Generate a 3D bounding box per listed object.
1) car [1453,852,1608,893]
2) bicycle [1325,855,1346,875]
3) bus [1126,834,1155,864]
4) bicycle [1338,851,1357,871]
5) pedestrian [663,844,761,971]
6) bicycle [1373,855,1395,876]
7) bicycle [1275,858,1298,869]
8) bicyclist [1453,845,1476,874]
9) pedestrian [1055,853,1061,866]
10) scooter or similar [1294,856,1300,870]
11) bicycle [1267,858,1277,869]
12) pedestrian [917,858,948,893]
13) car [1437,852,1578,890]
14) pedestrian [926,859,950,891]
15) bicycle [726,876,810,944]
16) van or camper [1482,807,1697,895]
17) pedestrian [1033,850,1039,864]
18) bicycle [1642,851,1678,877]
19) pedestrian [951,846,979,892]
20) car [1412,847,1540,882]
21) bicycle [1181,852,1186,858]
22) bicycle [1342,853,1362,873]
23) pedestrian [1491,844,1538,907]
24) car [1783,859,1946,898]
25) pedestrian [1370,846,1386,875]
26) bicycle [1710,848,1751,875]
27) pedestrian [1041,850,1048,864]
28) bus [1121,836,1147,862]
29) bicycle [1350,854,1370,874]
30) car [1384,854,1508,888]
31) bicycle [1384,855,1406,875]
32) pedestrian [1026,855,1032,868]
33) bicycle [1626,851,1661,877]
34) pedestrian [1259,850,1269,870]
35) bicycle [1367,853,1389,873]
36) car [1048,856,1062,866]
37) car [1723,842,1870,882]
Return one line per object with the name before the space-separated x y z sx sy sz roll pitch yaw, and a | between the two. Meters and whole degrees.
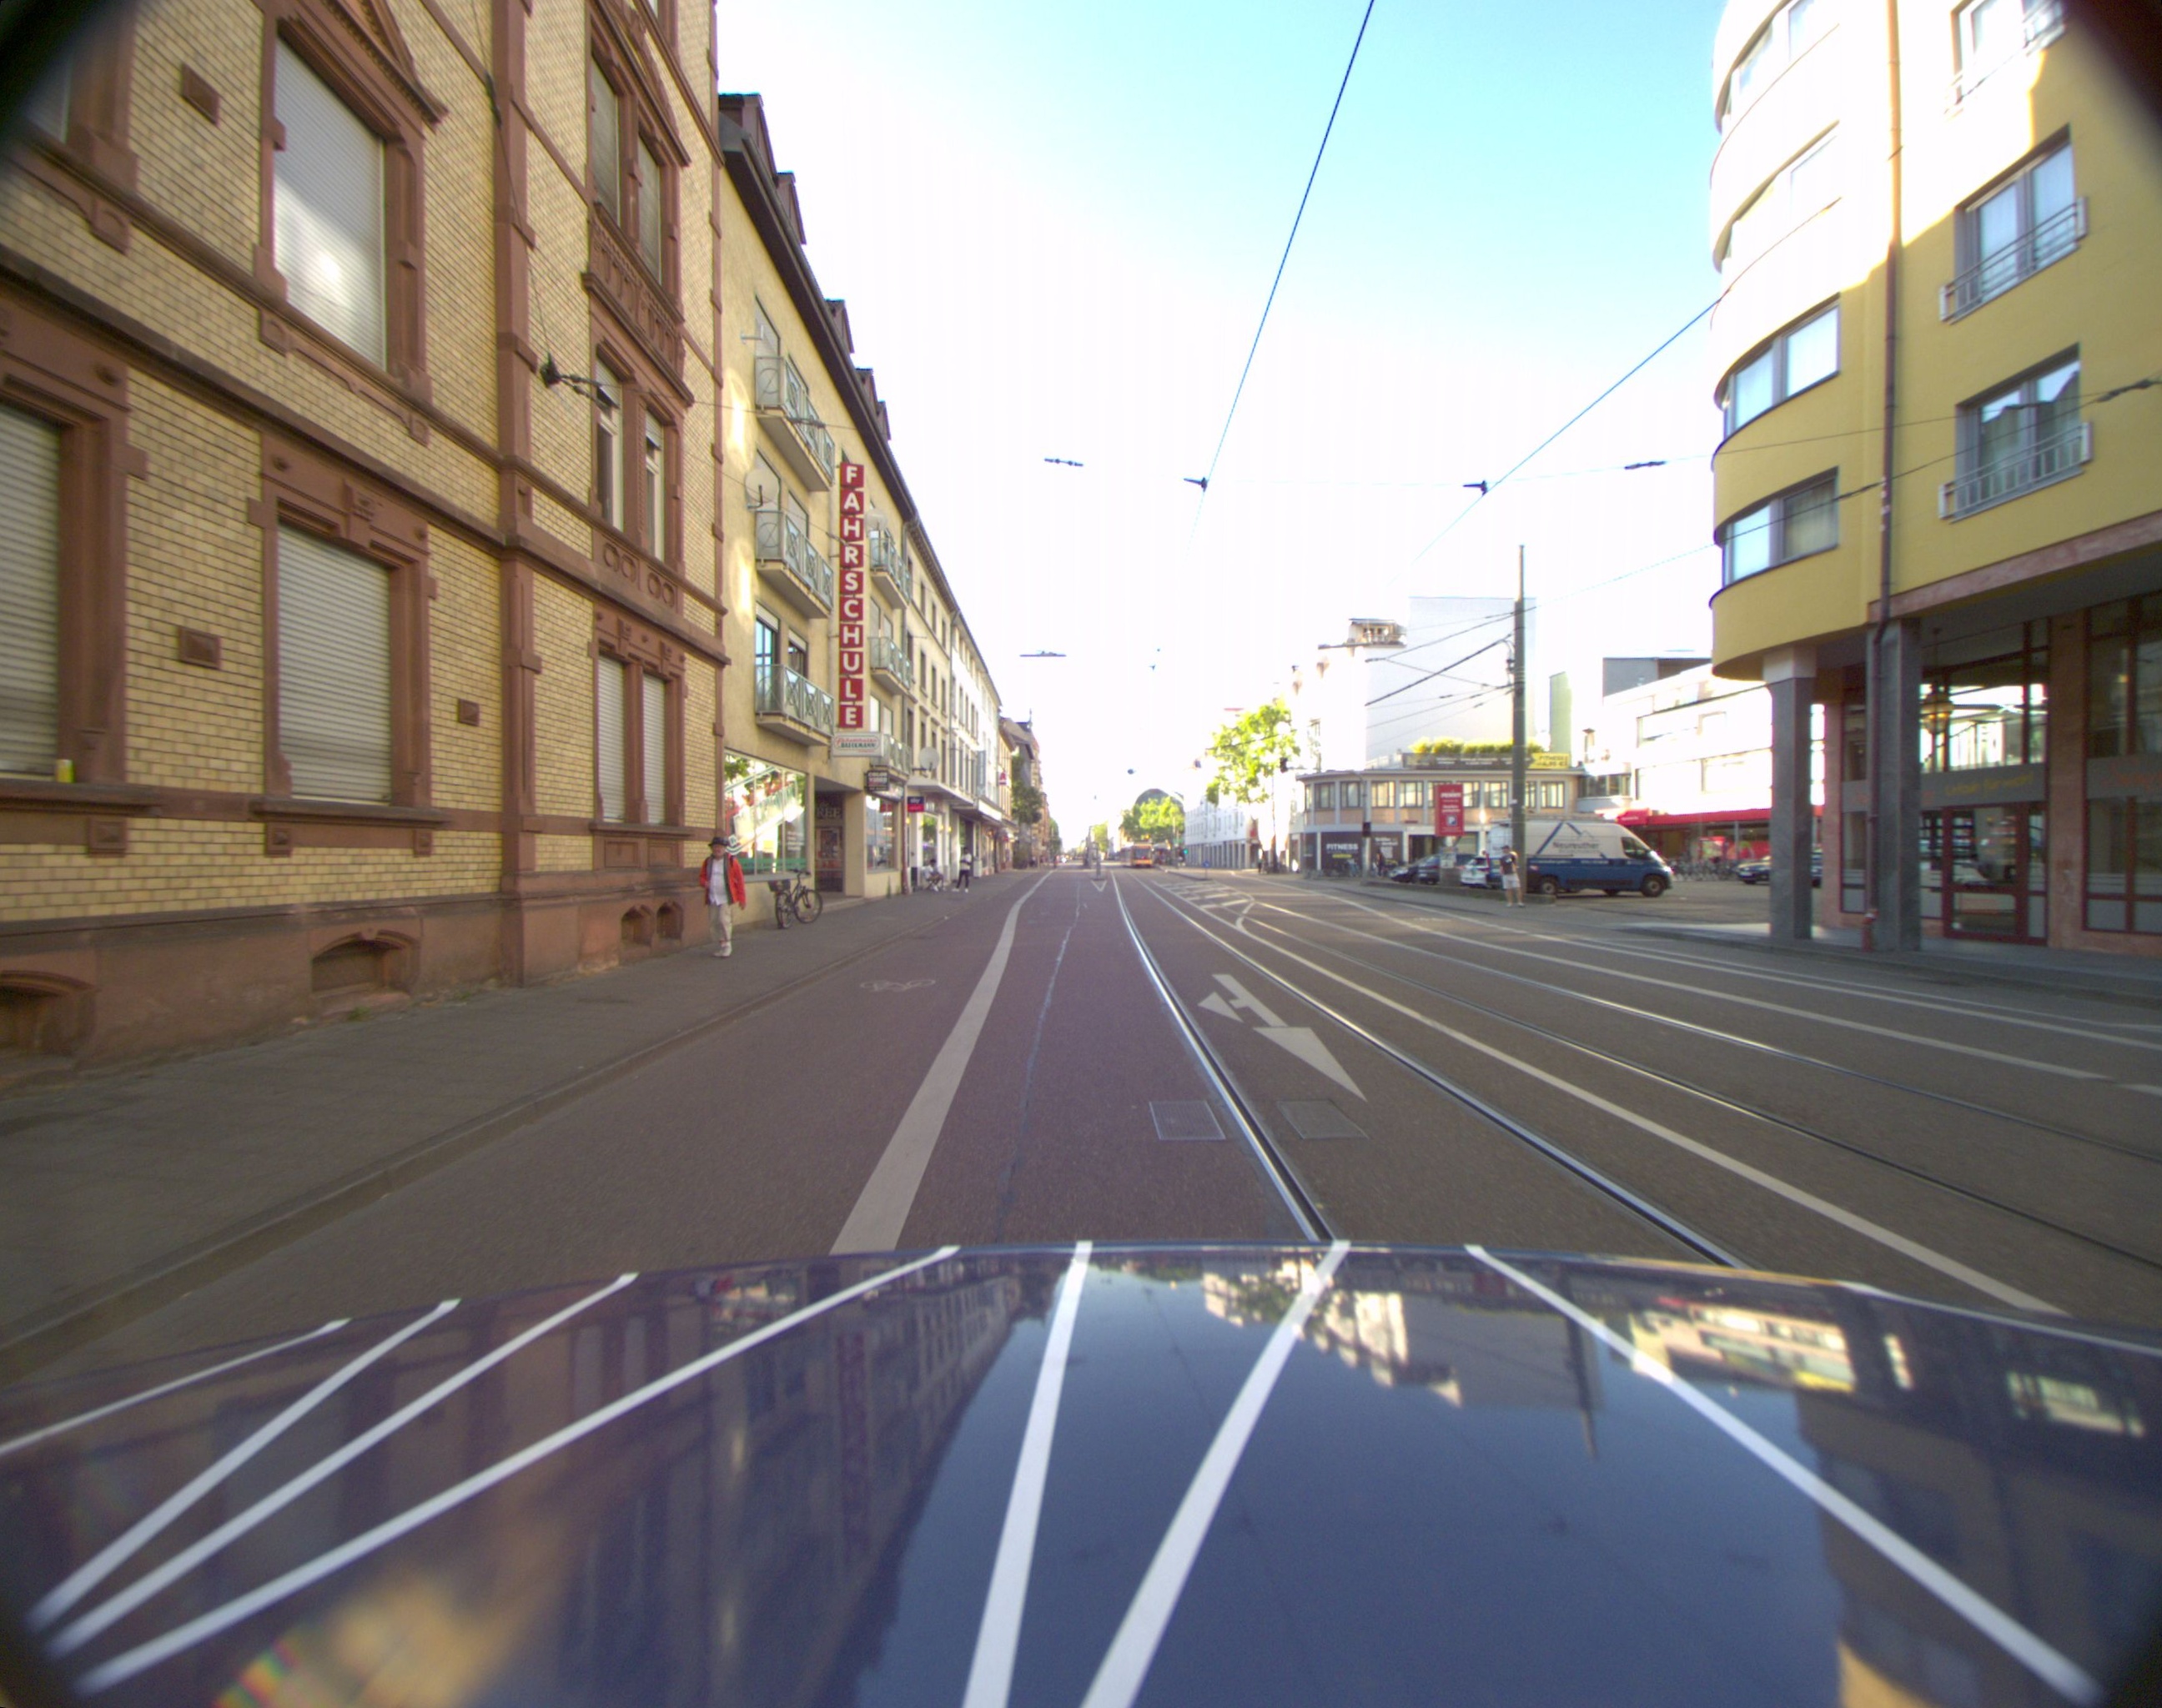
car | 16.494 0.671 28.036 4.600 1.467 1.879 0 0 0
bicycle | 15.306 0.637 45.770 0.447 1.180 1.830 0 0 -6
bus | 7.582 -0.593 98.346 2.818 3.547 13.678 0 0 0
bicycle | 15.835 0.403 45.119 0.441 1.180 1.831 0 0 -1
pedestrian | -5.063 0.722 10.475 0.800 1.618 0.826 5 -1 0
bicycle | 17.683 0.650 44.347 0.449 1.180 1.831 0 0 -3
bicycle | 17.410 0.815 64.347 1.849 0.906 0.390 -2 -2 5
bicyclist | 20.440 0.279 40.535 0.838 1.540 0.690 0 1 -17
pedestrian | -3.106 0.726 101.442 0.694 1.760 0.697 0 1 4
scooter or similar | 17.812 0.747 62.528 0.335 1.105 1.182 0 1 23
bicycle | 16.177 0.778 64.441 0.389 0.907 1.851 -2 0 1
pedestrian | -5.712 0.818 29.174 0.833 1.248 0.705 6 0 -35
car | 17.008 0.666 30.464 4.600 1.467 1.879 0 0 0
pedestrian | -5.701 0.836 30.253 0.708 1.168 1.014 6 0 -20
bicycle | -5.697 0.988 13.982 0.556 1.055 2.311 2 0 0
van or camper | 16.836 -0.083 25.388 5.620 2.810 2.315 0 0 0
pedestrian | -5.700 0.388 95.662 0.650 1.760 0.697 0 1 4
bicycle | 26.611 0.460 34.926 0.432 1.180 1.832 0 0 7
pedestrian | -4.682 0.604 30.705 0.705 1.801 0.680 6 0 15
car | 17.101 0.447 33.021 4.600 1.467 1.879 0 0 0
bicycle | 17.085 0.156 126.519 0.518 0.983 1.727 -2 0 0
bicycle | 16.191 0.532 45.350 0.449 1.180 1.831 0 0 -3
pedestrian | 12.720 0.629 22.307 0.835 1.822 0.909 0 0 -1
car | 28.508 0.865 27.740 3.998 1.346 1.999 0 0 -3
pedestrian | 17.200 0.372 44.019 0.682 1.687 0.683 0 0 -2
bicycle | 28.692 0.307 33.593 0.432 1.181 1.832 0 1 7
pedestrian | -4.741 0.383 98.275 0.807 1.789 0.761 0 1 0
bus | 7.674 -0.662 111.728 2.818 3.547 13.677 0 0 0
bicycle | 16.608 0.595 45.308 0.444 1.180 1.831 0 0 -3
car | 17.069 0.777 35.709 4.907 1.574 1.879 0 0 0
bicycle | 18.433 0.641 44.649 0.449 1.180 1.831 0 0 -3
pedestrian | -6.293 0.961 92.085 0.651 1.569 0.682 0 1 -7
bicycle | 25.898 0.448 35.027 0.432 1.180 1.832 0 0 7
pedestrian | 15.807 0.516 65.588 0.630 1.706 0.826 0 1 27
bicycle | 17.284 0.519 44.227 0.449 1.180 1.831 0 0 -3
car | -3.838 1.013 112.184 1.969 1.302 4.000 0 0 0
car | 28.125 0.291 29.942 3.998 1.499 1.999 0 1 -3
